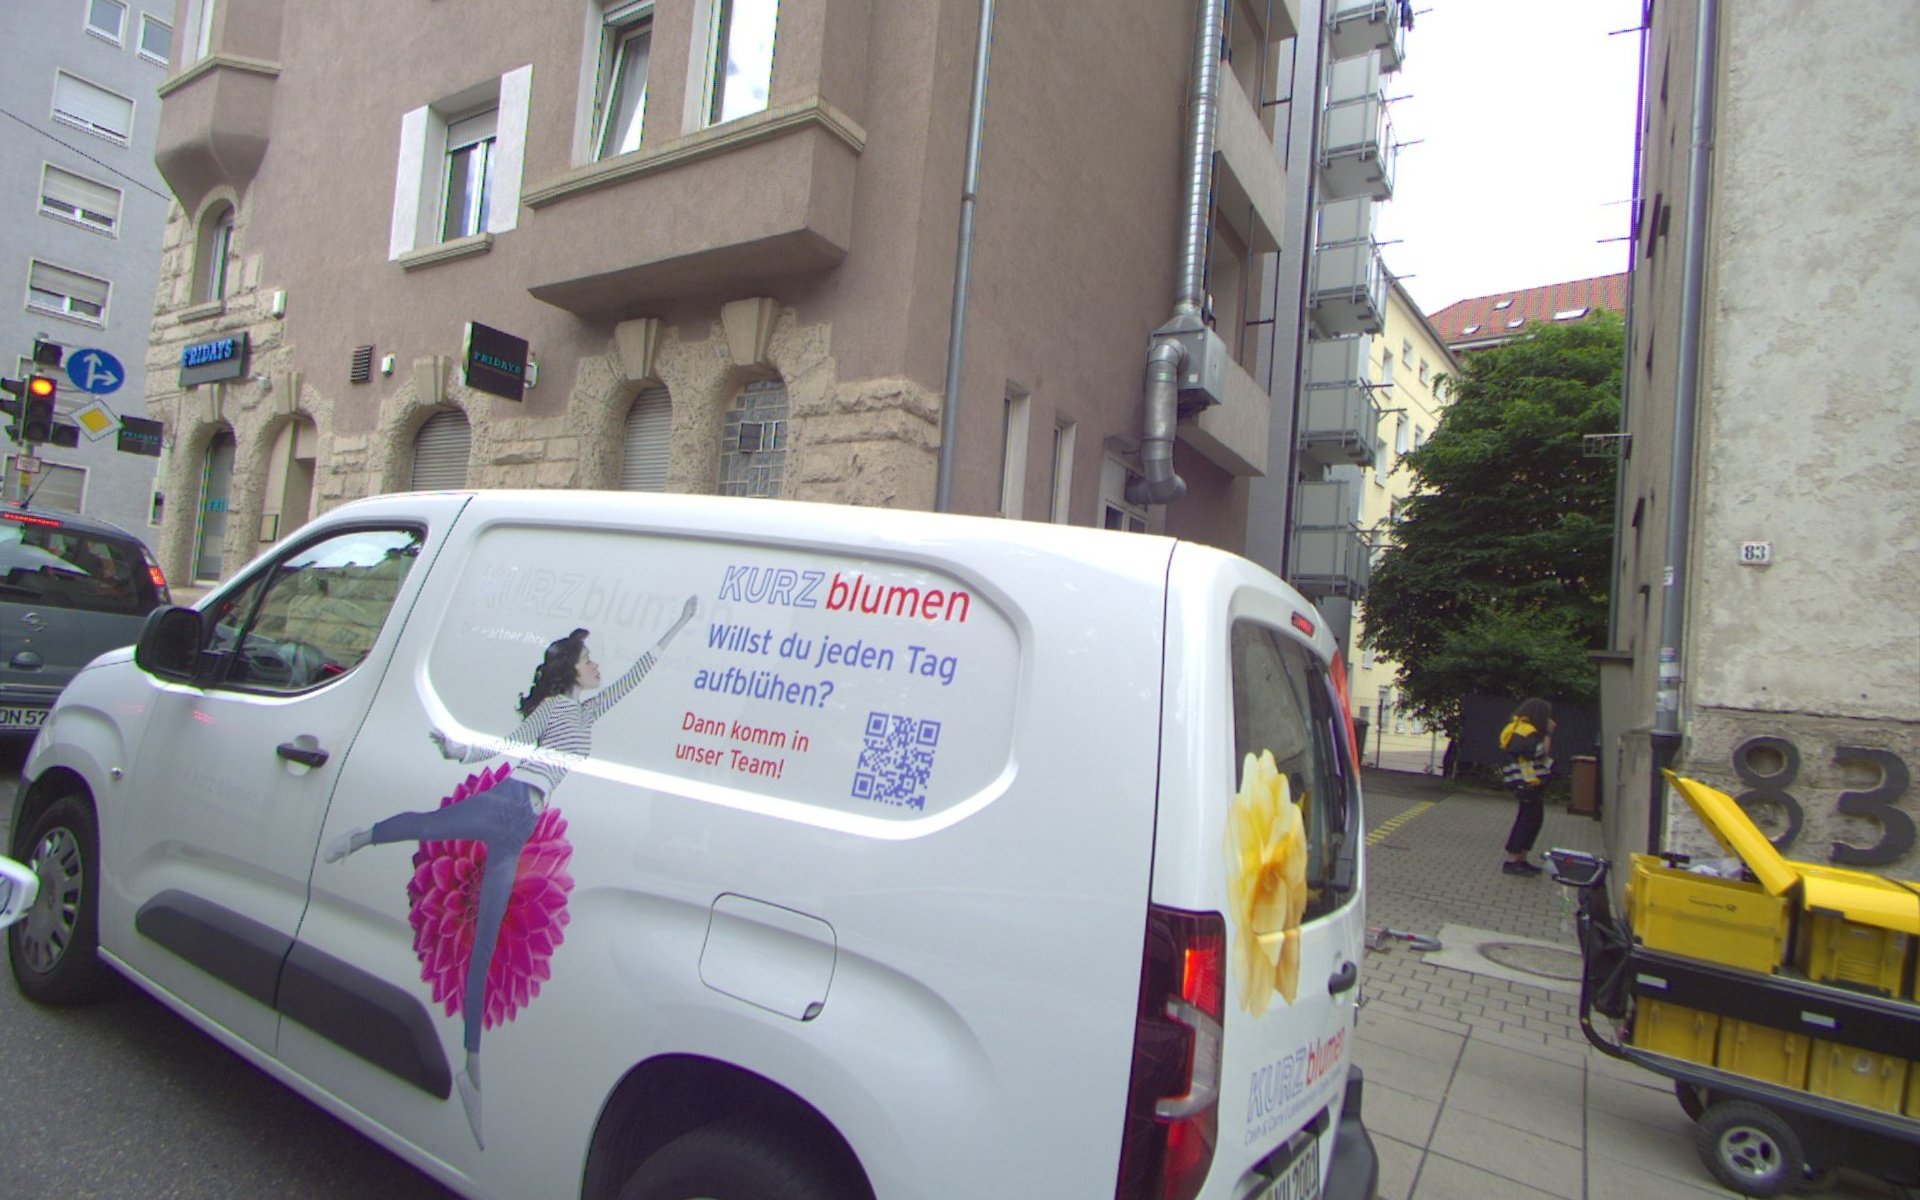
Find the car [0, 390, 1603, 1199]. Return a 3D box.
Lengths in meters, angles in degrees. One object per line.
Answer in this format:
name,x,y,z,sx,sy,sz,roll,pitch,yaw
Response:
car,-0.905,0.585,3.103,4.597,1.793,1.983,6,-5,30

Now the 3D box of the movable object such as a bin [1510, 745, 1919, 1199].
movable object such as a bin,3.379,1.457,3.978,1.979,1.391,1.223,6,0,30

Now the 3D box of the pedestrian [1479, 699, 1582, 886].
pedestrian,5.518,1.818,9.767,0.770,1.665,0.811,1,-3,24

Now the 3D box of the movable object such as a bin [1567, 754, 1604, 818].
movable object such as a bin,9.929,2.944,15.978,0.405,0.922,0.340,6,-1,32

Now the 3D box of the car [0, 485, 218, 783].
car,-6.713,0.046,6.527,3.608,1.614,1.634,6,-5,32

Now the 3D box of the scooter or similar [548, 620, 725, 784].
scooter or similar,-2.677,0.812,8.281,1.400,1.117,0.527,6,-1,34
